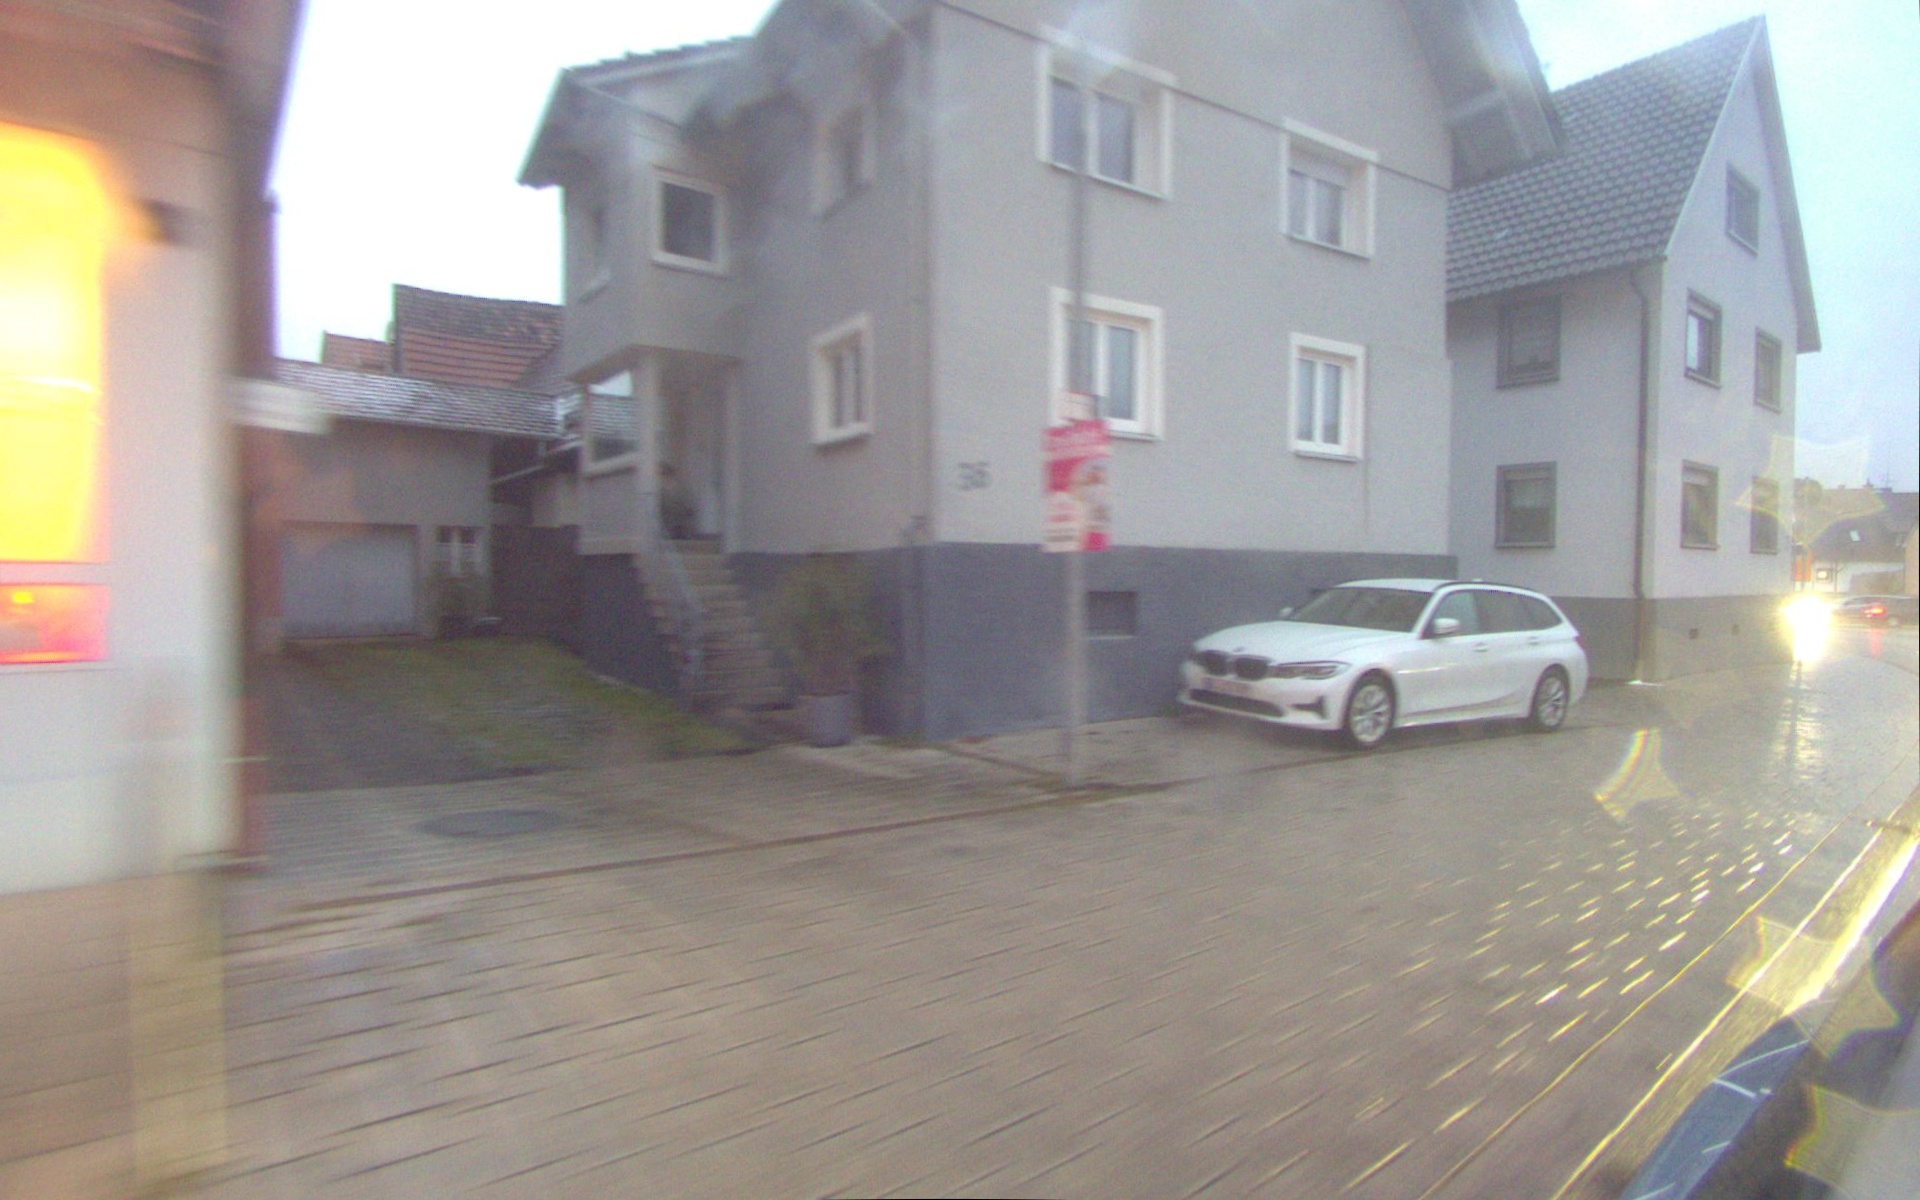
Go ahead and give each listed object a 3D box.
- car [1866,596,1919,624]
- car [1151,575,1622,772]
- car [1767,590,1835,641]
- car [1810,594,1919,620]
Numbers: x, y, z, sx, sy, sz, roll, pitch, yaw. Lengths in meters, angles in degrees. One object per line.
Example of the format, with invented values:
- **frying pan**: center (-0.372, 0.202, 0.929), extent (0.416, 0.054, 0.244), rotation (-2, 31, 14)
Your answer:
- **car**: center (45.850, 0.466, 47.920), extent (3.955, 1.315, 1.984), rotation (0, 0, 23)
- **car**: center (4.219, 0.542, 9.782), extent (4.604, 1.504, 1.937), rotation (0, 0, -32)
- **car**: center (35.240, 0.603, 42.497), extent (1.988, 2.039, 3.947), rotation (0, 0, 37)
- **car**: center (46.608, 0.343, 51.875), extent (4.200, 1.315, 1.984), rotation (0, 0, 24)
